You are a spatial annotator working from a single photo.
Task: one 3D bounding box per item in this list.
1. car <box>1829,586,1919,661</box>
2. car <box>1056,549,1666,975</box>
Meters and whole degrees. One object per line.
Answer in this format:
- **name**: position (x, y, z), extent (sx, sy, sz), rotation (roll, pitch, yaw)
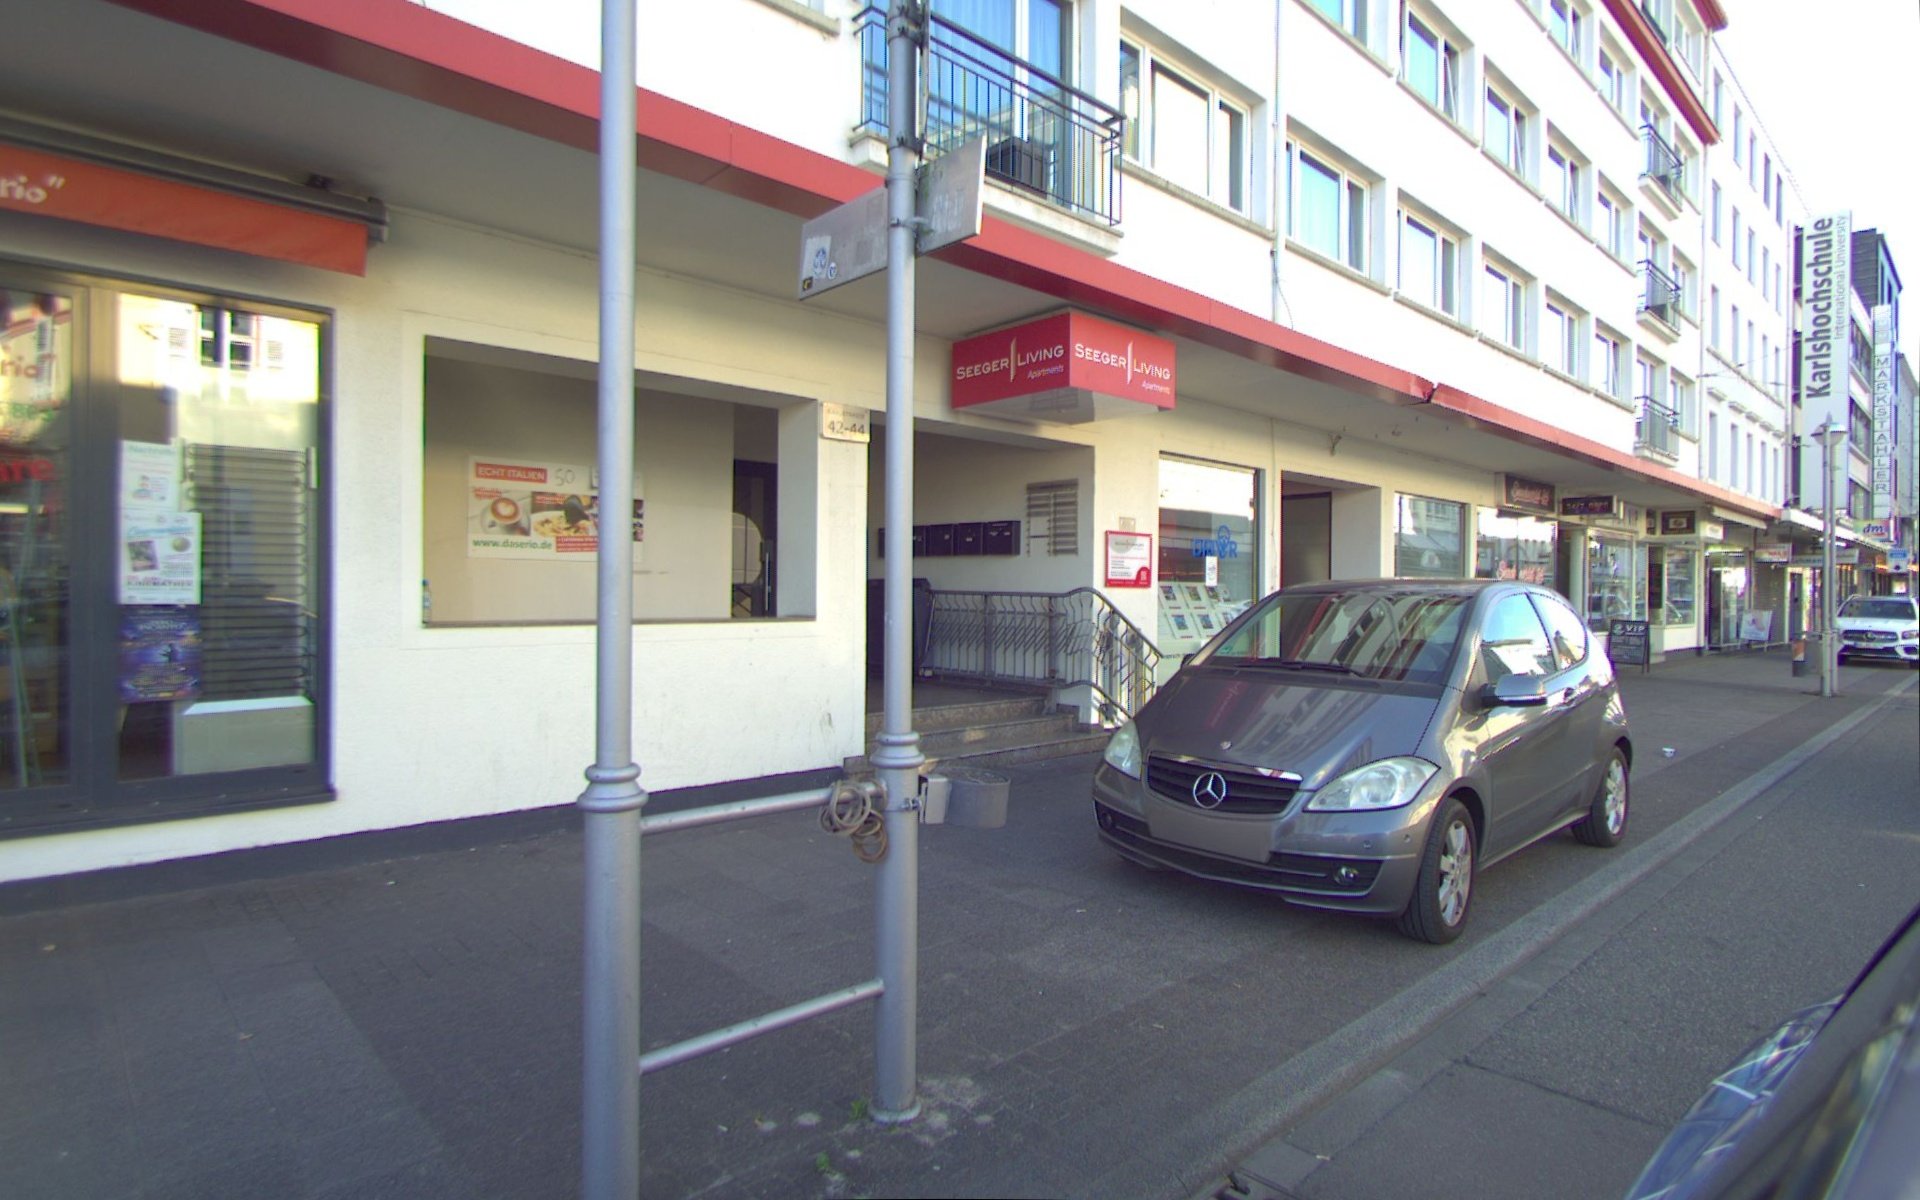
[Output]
- **car**: position (22.400, 0.522, 24.352), extent (1.994, 1.650, 3.935), rotation (1, 1, 45)
- **car**: position (2.474, 0.598, 5.691), extent (3.932, 1.565, 1.681), rotation (0, 0, -43)
